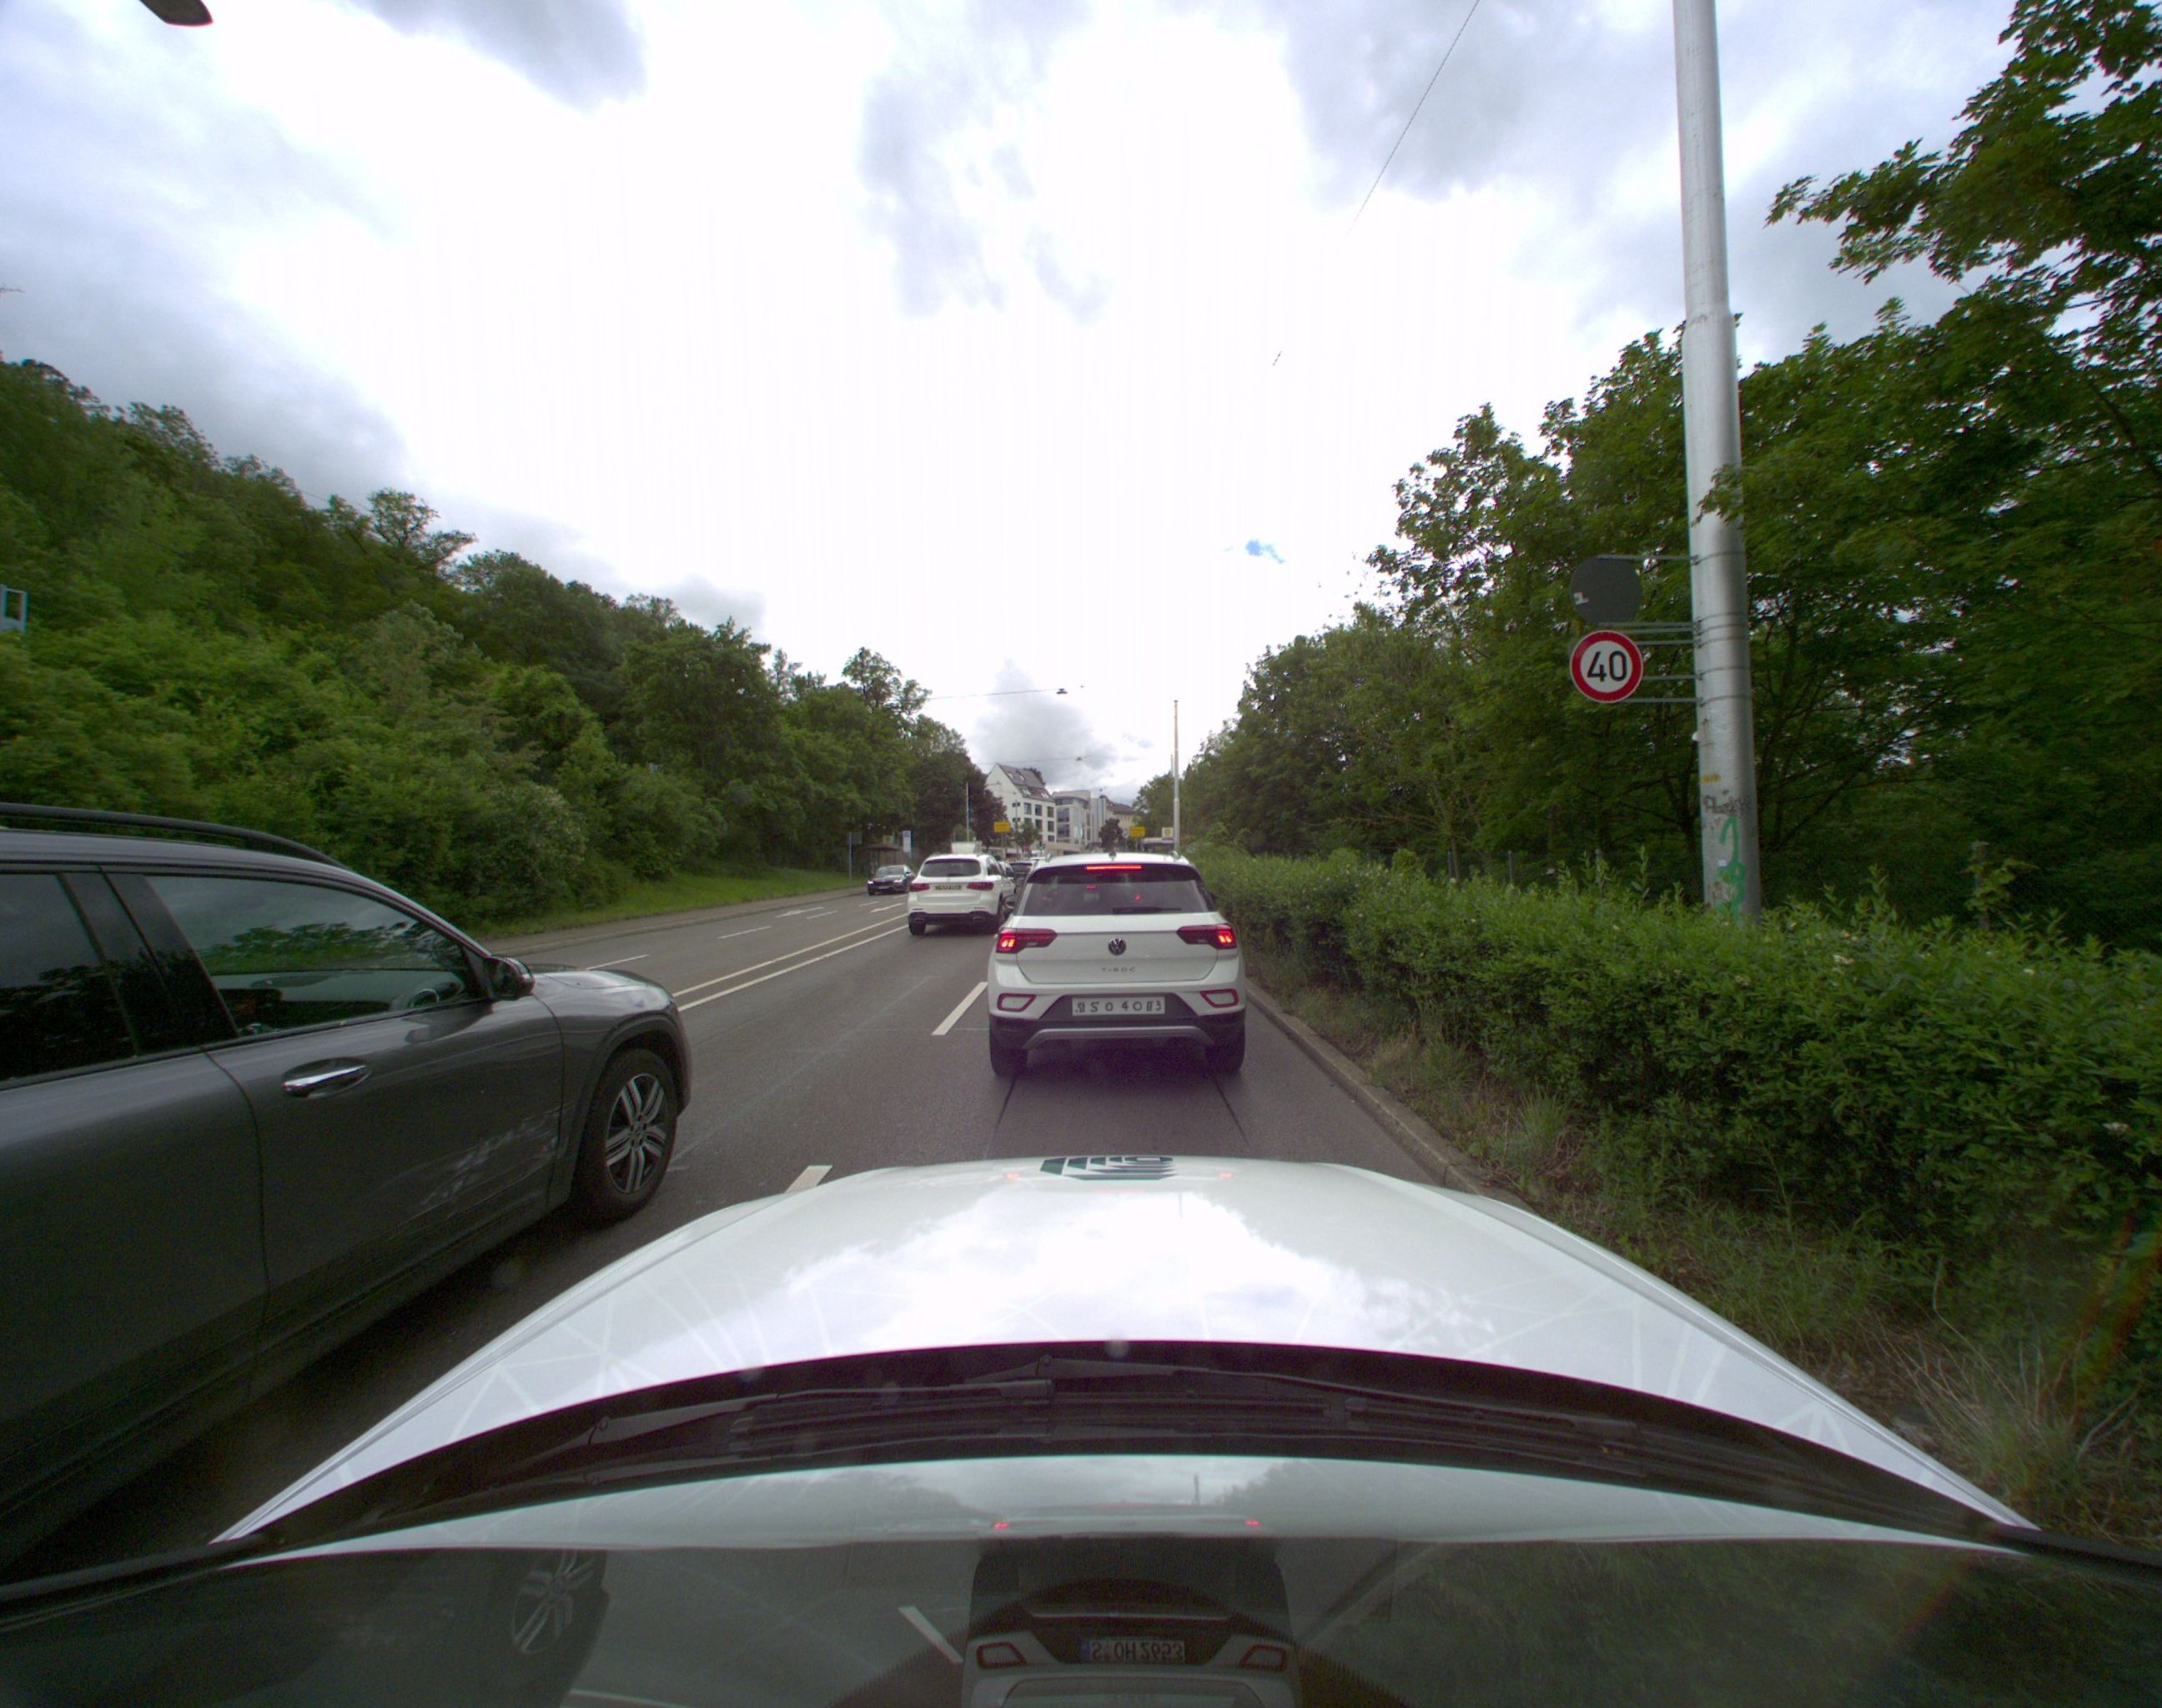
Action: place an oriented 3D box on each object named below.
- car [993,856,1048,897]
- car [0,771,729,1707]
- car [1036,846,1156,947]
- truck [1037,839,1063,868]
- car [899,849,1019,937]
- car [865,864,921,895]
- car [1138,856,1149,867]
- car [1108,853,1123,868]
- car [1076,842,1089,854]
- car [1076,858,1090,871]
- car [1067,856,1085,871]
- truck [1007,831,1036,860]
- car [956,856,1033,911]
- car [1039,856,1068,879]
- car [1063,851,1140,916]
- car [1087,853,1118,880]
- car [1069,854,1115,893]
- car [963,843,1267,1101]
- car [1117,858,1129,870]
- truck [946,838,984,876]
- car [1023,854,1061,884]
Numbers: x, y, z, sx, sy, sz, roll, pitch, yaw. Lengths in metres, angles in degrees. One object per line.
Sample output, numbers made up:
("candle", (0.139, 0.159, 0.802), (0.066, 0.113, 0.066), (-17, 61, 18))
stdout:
("car", (-2.381, 0.863, 33.039), (1.823, 1.526, 4.001), (-2, 0, 1))
("car", (-2.763, 0.703, 2.006), (1.843, 1.651, 4.357), (-1, 0, 0))
("car", (0.272, 0.676, 14.842), (1.823, 1.526, 4.001), (-2, 0, 1))
("truck", (-3.200, -0.048, 85.587), (2.354, 2.782, 4.478), (-3, 0, 1))
("car", (-2.504, 0.758, 17.702), (1.911, 1.669, 4.001), (-1, 0, 1))
("car", (-9.422, 1.244, 41.152), (1.673, 1.395, 4.361), (-3, 0, 1))
("car", (12.334, 1.512, 160.776), (1.986, 2.014, 4.002), (-3, -2, 2))
("car", (4.693, 0.876, 110.560), (1.986, 2.013, 4.001), (-2, 0, 2))
("car", (0.251, -0.860, 117.002), (1.823, 1.526, 4.001), (-2, 0, 1))
("car", (0.272, 1.376, 109.616), (1.809, 1.656, 3.929), (-3, 0, 1))
("car", (-0.535, 1.013, 89.783), (1.823, 1.526, 4.001), (-2, 0, 1))
("truck", (-5.901, -0.786, 81.130), (2.354, 2.706, 4.478), (-3, 0, 1))
("car", (-2.590, 0.853, 25.287), (1.823, 1.497, 4.001), (-2, 0, 1))
("car", (-1.929, 0.972, 58.544), (1.823, 1.526, 4.001), (-2, 0, 1))
("car", (0.542, 0.732, 21.942), (1.823, 1.526, 4.001), (-2, 0, 1))
("car", (1.302, 0.726, 49.915), (1.823, 1.526, 4.001), (-2, 0, 1))
("car", (0.499, 0.806, 35.324), (1.823, 1.526, 4.001), (-2, 0, 1))
("car", (0.244, 0.728, 6.990), (1.823, 1.526, 4.001), (-2, 0, 1))
("car", (7.249, 1.725, 140.464), (1.986, 2.014, 4.002), (-3, -2, 2))
("truck", (-10.111, 0.295, 71.483), (2.286, 3.051, 6.977), (-2, -1, 0))
("car", (-2.106, 0.818, 45.153), (1.823, 1.526, 4.001), (-2, 0, 1))
